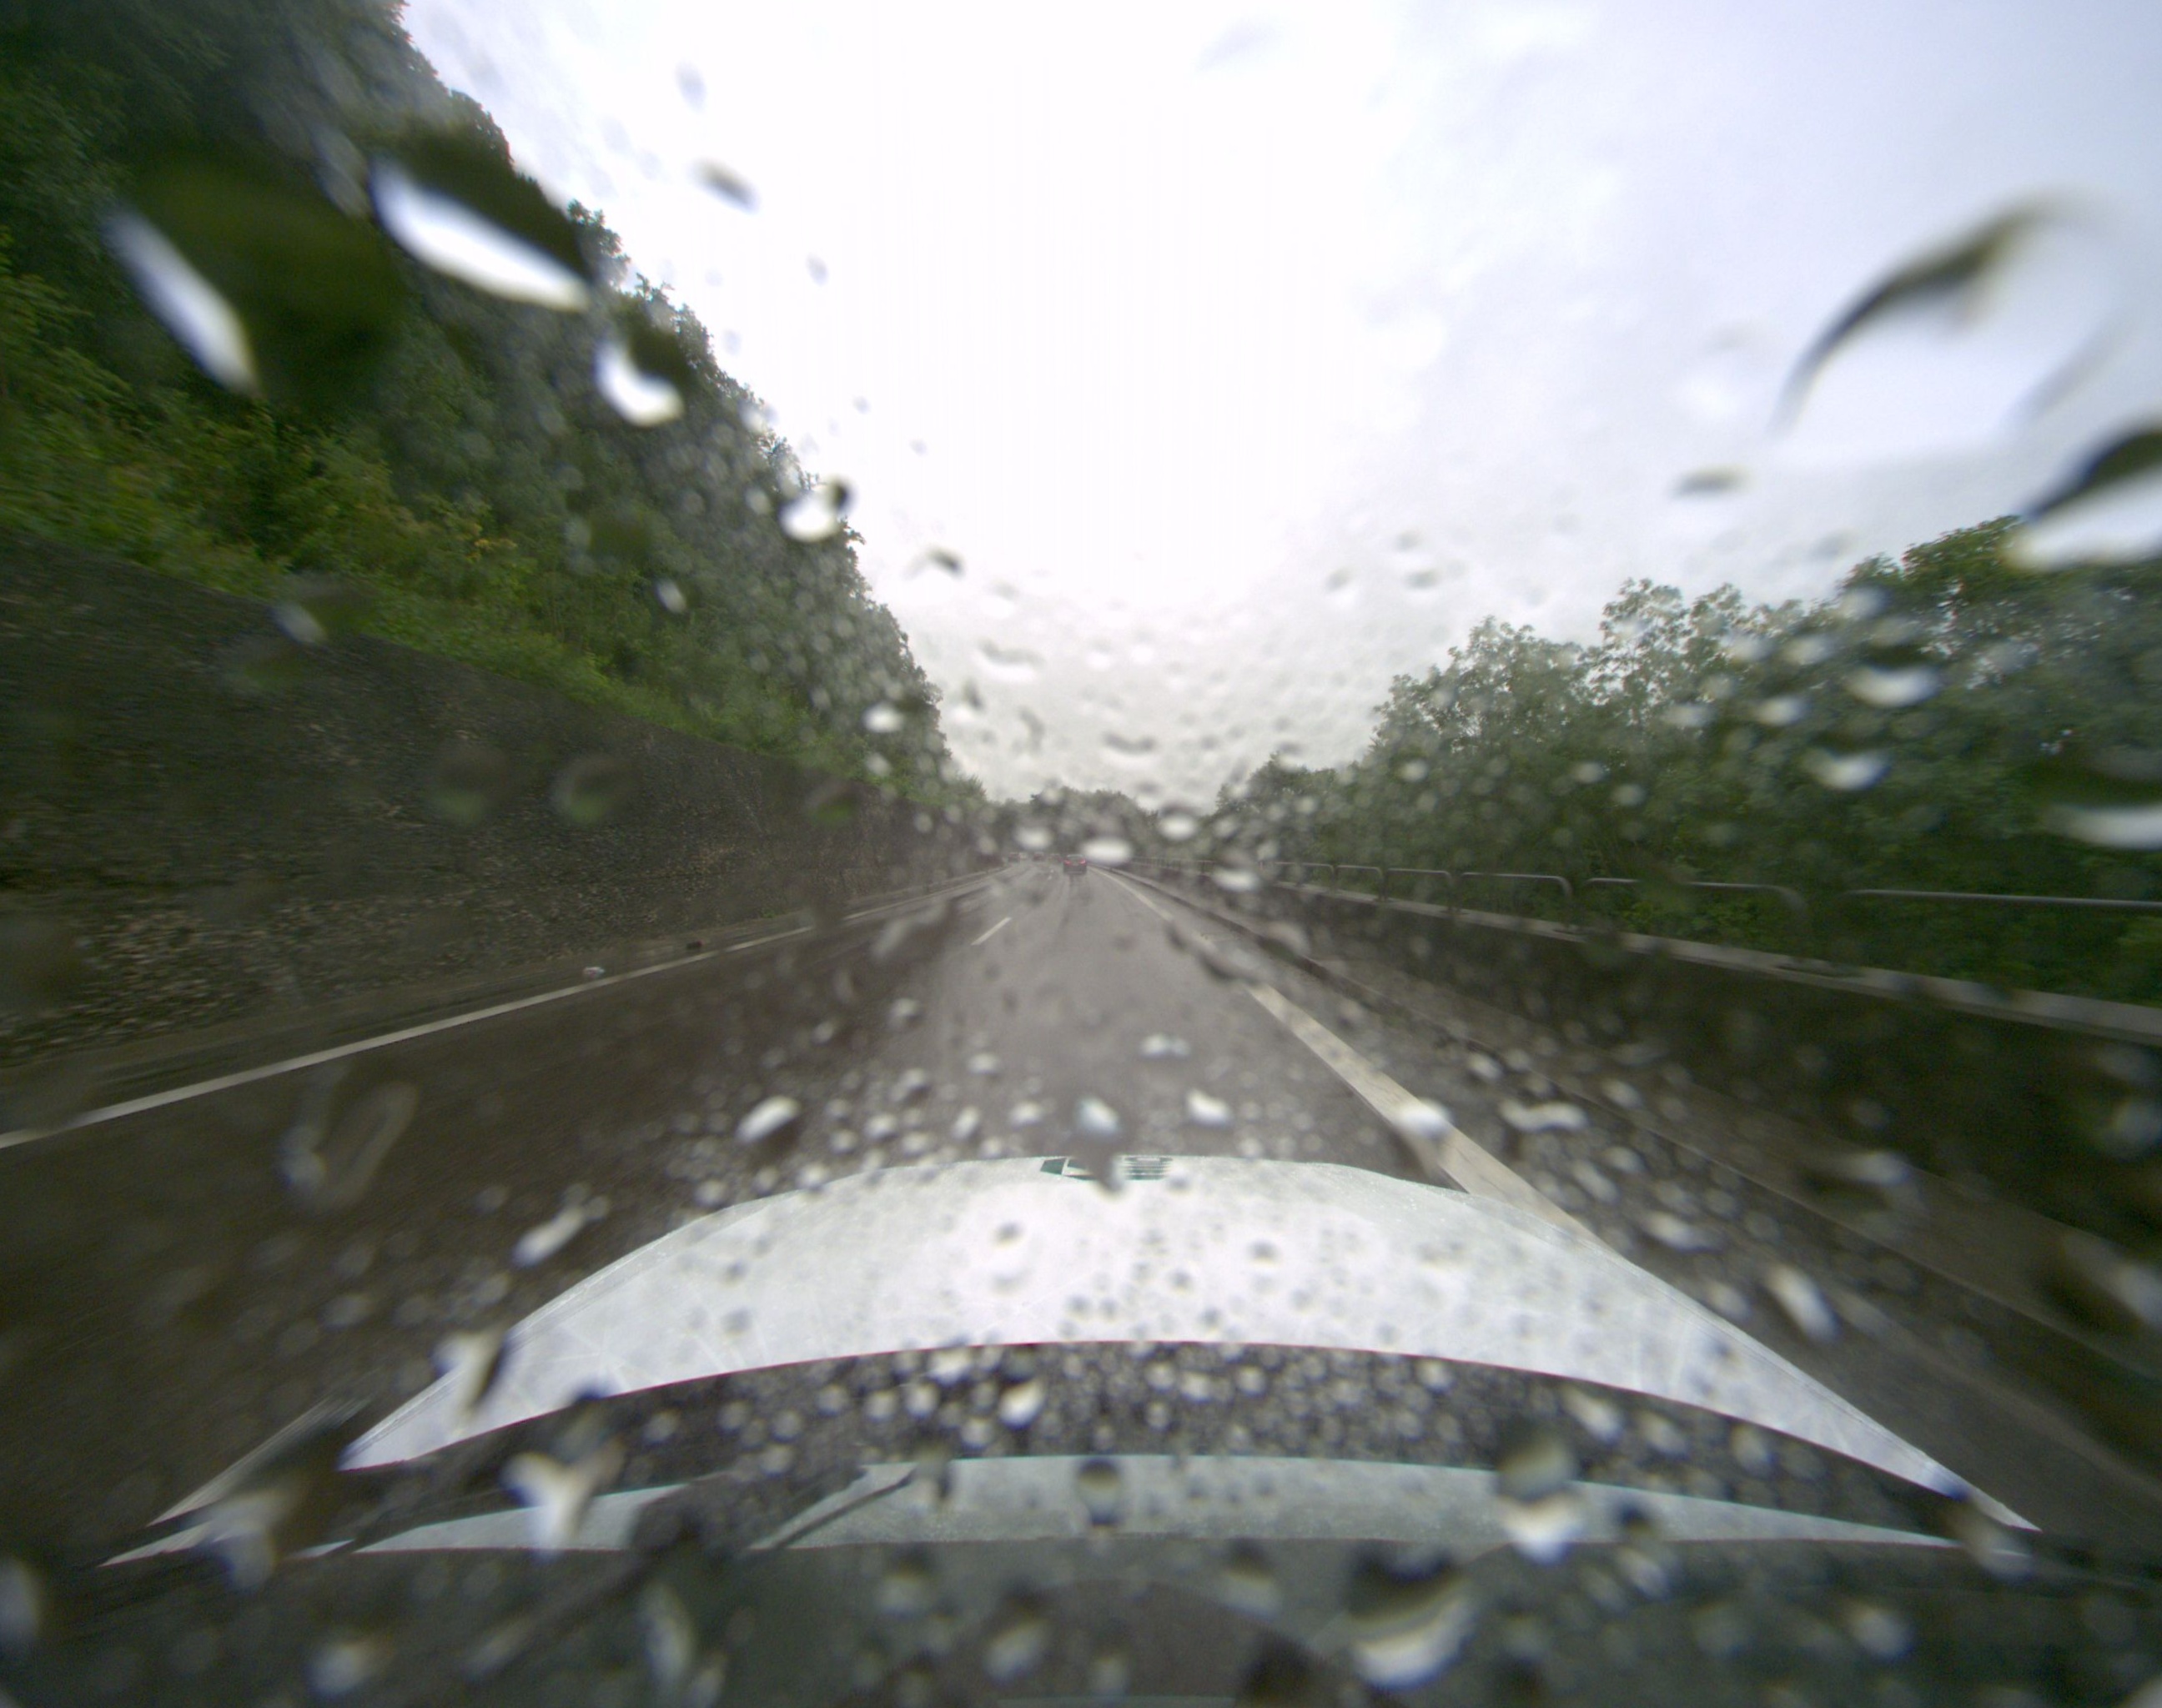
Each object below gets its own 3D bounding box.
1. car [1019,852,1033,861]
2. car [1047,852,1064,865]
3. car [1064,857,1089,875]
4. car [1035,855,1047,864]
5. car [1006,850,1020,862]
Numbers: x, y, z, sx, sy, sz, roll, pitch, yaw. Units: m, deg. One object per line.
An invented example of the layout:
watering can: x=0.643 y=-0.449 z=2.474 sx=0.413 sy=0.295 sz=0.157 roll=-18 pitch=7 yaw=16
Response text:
car: x=-10.563 y=0.548 z=156.214 sx=1.994 sy=1.662 sz=3.985 roll=-1 pitch=0 yaw=-11
car: x=-3.544 y=0.608 z=113.240 sx=1.992 sy=1.750 sz=3.988 roll=0 pitch=-1 yaw=-8
car: x=-0.326 y=0.931 z=63.526 sx=1.793 sy=1.307 sz=4.002 roll=-1 pitch=0 yaw=2
car: x=-6.868 y=0.948 z=139.304 sx=1.797 sy=1.467 sz=3.993 roll=-1 pitch=0 yaw=-5
car: x=-11.631 y=0.356 z=139.143 sx=1.993 sy=1.904 sz=3.987 roll=0 pitch=-1 yaw=-10
